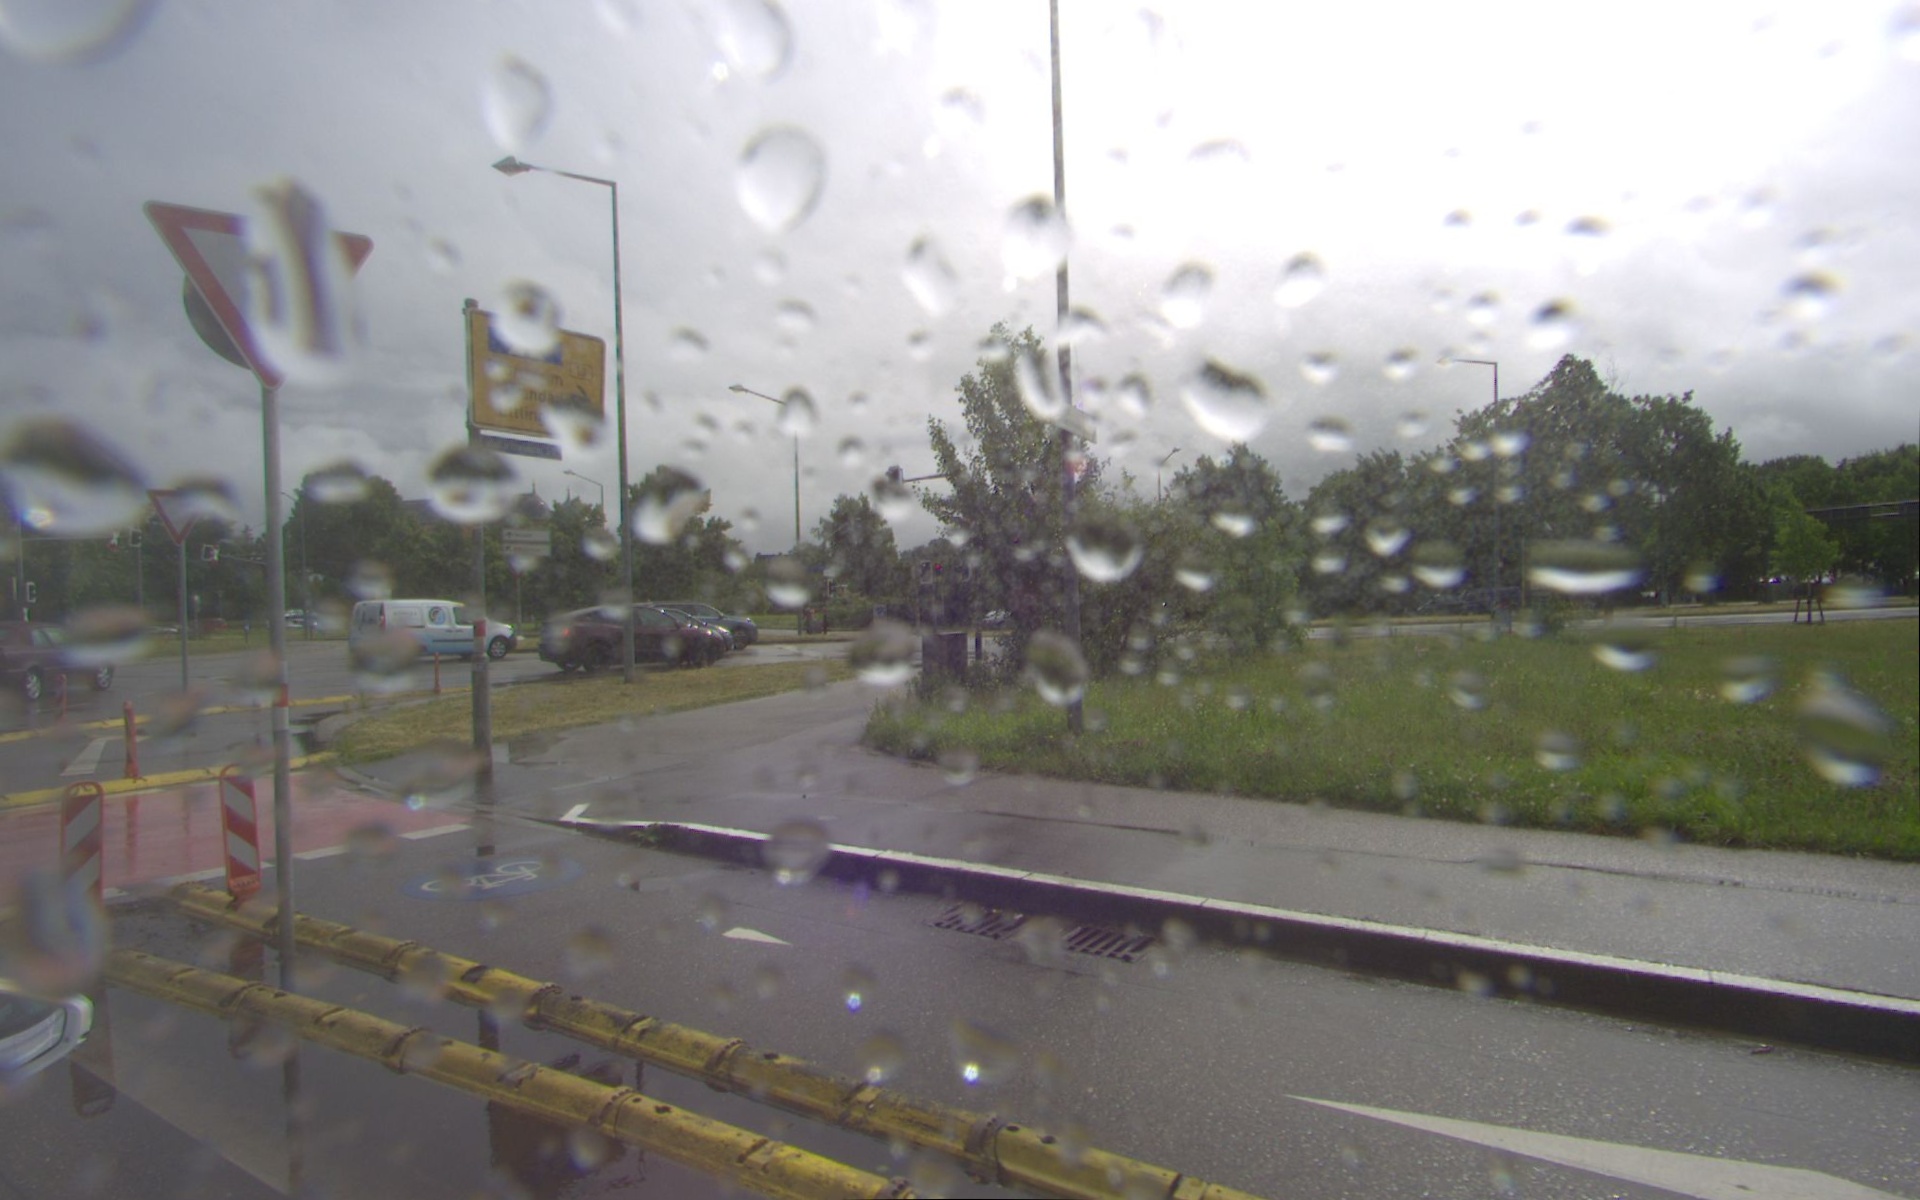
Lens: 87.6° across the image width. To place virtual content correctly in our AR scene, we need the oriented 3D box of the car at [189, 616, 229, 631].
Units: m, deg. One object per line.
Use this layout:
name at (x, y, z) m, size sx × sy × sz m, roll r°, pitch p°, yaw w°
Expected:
car at (-79.221, 2.456, 105.686) m, size 3.586 × 1.530 × 1.646 m, roll -1°, pitch 0°, yaw 20°

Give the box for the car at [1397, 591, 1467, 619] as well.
car at (27.551, 0.296, 58.503) m, size 3.536 × 1.602 × 1.565 m, roll 0°, pitch 1°, yaw -15°

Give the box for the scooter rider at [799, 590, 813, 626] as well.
scooter rider at (-8.676, 0.448, 56.506) m, size 0.693 × 2.039 × 0.769 m, roll 0°, pitch -1°, yaw -16°

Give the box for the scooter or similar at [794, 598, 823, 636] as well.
scooter or similar at (-8.510, 0.976, 55.974) m, size 1.217 × 2.039 × 3.405 m, roll 0°, pitch -2°, yaw -15°

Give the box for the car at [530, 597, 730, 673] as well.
car at (-8.268, 0.805, 25.348) m, size 4.453 × 1.679 × 1.857 m, roll -2°, pitch 1°, yaw -44°

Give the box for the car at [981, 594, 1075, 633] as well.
car at (3.729, 0.716, 55.101) m, size 4.714 × 2.014 × 2.075 m, roll 0°, pitch 1°, yaw -16°

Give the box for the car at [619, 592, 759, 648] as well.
car at (-9.425, 0.643, 34.924) m, size 4.270 × 1.781 × 2.026 m, roll -1°, pitch 1°, yaw -38°

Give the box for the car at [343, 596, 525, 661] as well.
car at (-15.603, 0.782, 29.960) m, size 1.839 × 1.786 × 4.530 m, roll 0°, pitch 0°, yaw 30°

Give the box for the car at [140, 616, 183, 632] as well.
car at (-80.314, 2.427, 100.745) m, size 3.546 × 1.481 × 1.643 m, roll -1°, pitch 0°, yaw 17°

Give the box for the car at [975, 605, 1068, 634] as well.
car at (3.173, 0.985, 51.720) m, size 4.469 × 1.399 × 1.864 m, roll 0°, pitch 0°, yaw -15°

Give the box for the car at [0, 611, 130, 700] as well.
car at (-17.904, 1.008, 19.218) m, size 1.690 × 1.482 × 3.990 m, roll -1°, pitch 1°, yaw -19°

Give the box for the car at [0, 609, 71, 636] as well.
car at (-55.759, 1.338, 59.965) m, size 3.435 × 1.473 × 1.548 m, roll -1°, pitch 1°, yaw -11°
